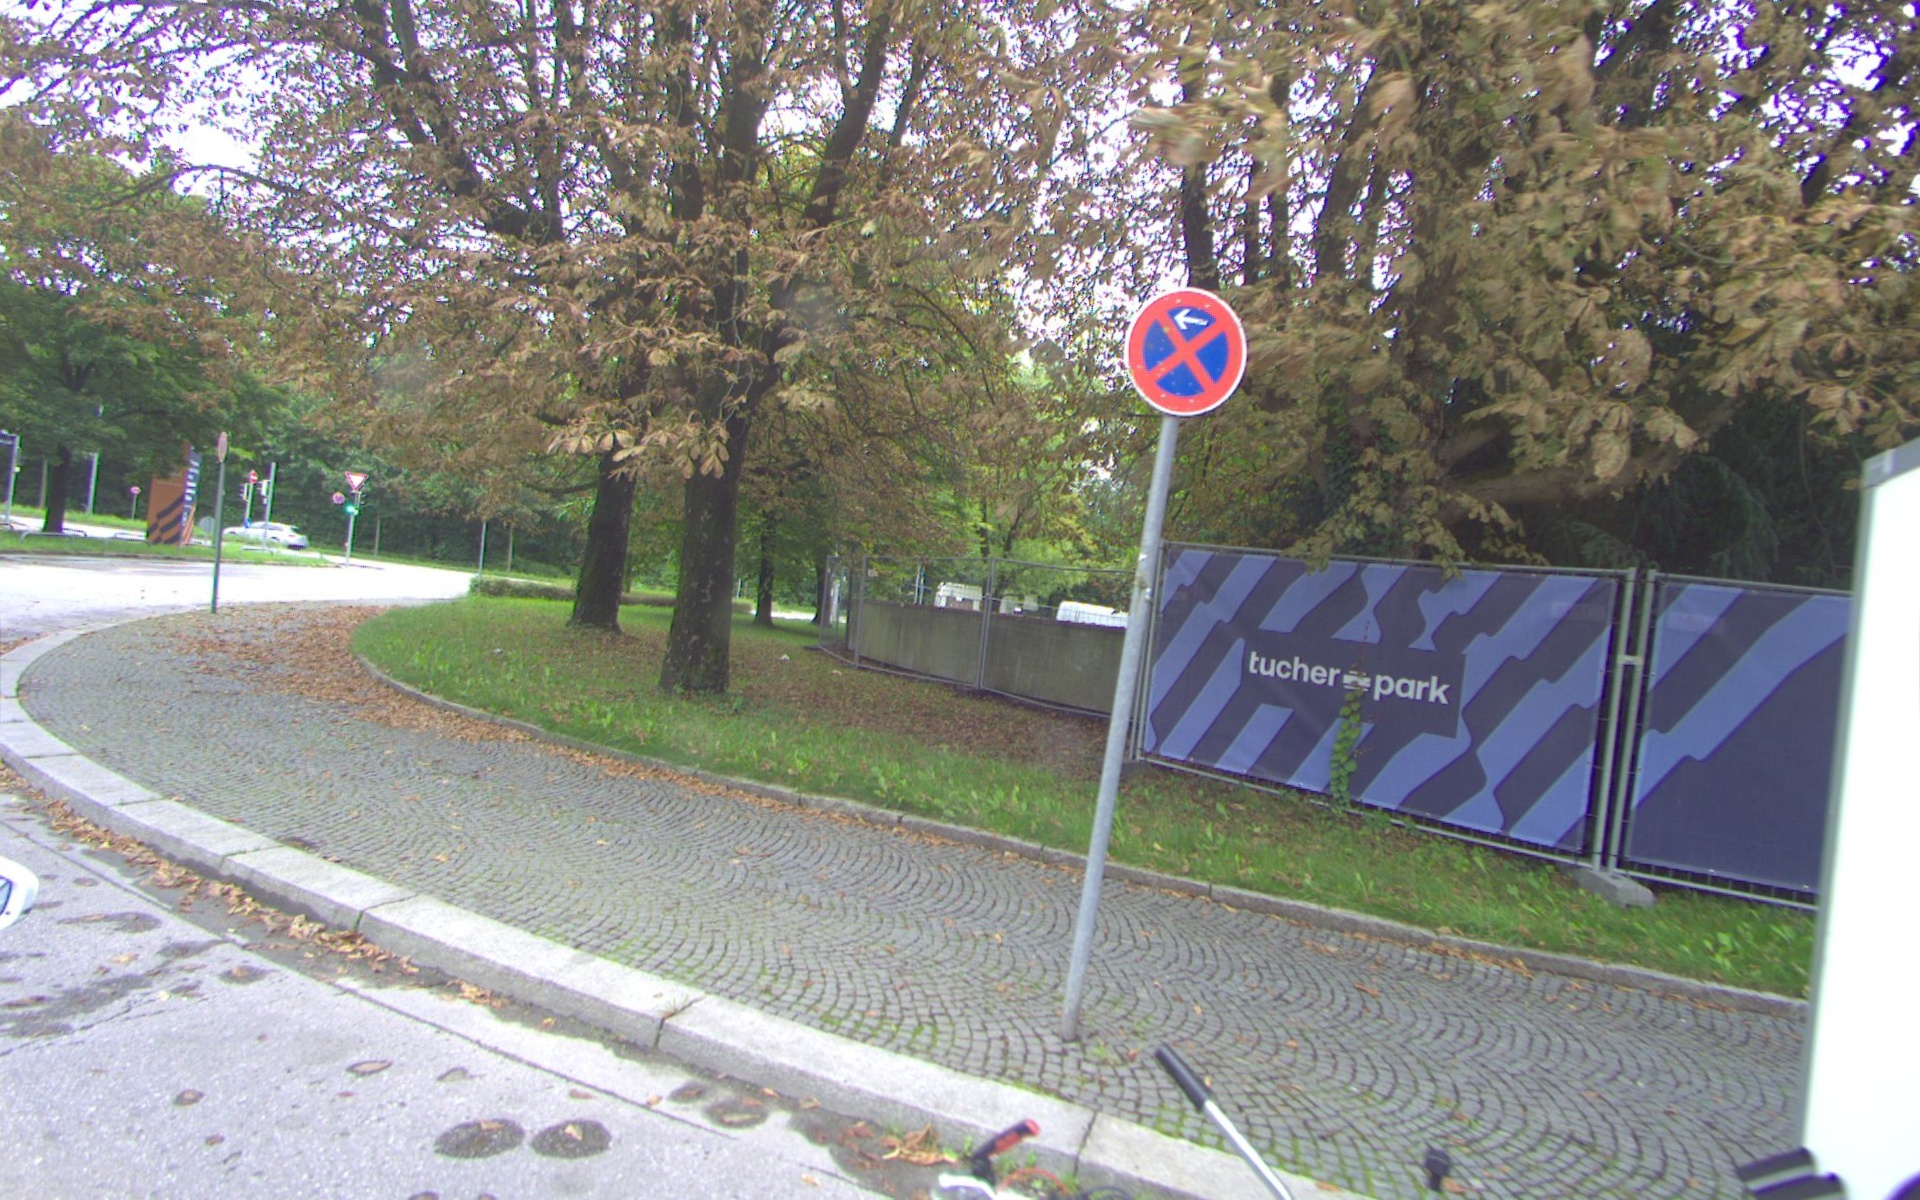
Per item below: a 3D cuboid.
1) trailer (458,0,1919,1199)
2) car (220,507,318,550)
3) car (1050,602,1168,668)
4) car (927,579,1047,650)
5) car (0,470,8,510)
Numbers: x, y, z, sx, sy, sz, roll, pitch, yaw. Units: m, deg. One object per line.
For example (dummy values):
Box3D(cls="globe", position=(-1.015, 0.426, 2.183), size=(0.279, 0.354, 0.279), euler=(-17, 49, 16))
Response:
Box3D(cls="trailer", position=(1.886, 0.612, 1.243), size=(4.746, 2.038, 1.814), euler=(6, -1, 24))
Box3D(cls="car", position=(-39.661, -4.102, 57.841), size=(4.051, 1.771, 1.999), euler=(7, -1, -4))
Box3D(cls="car", position=(7.535, 1.761, 51.151), size=(5.362, 2.612, 2.075), euler=(8, 0, -6))
Box3D(cls="car", position=(1.282, 0.739, 50.202), size=(5.499, 2.767, 2.075), euler=(8, 0, -6))
Box3D(cls="car", position=(-51.127, -5.930, 50.714), size=(3.935, 2.038, 1.996), euler=(8, -1, -11))
